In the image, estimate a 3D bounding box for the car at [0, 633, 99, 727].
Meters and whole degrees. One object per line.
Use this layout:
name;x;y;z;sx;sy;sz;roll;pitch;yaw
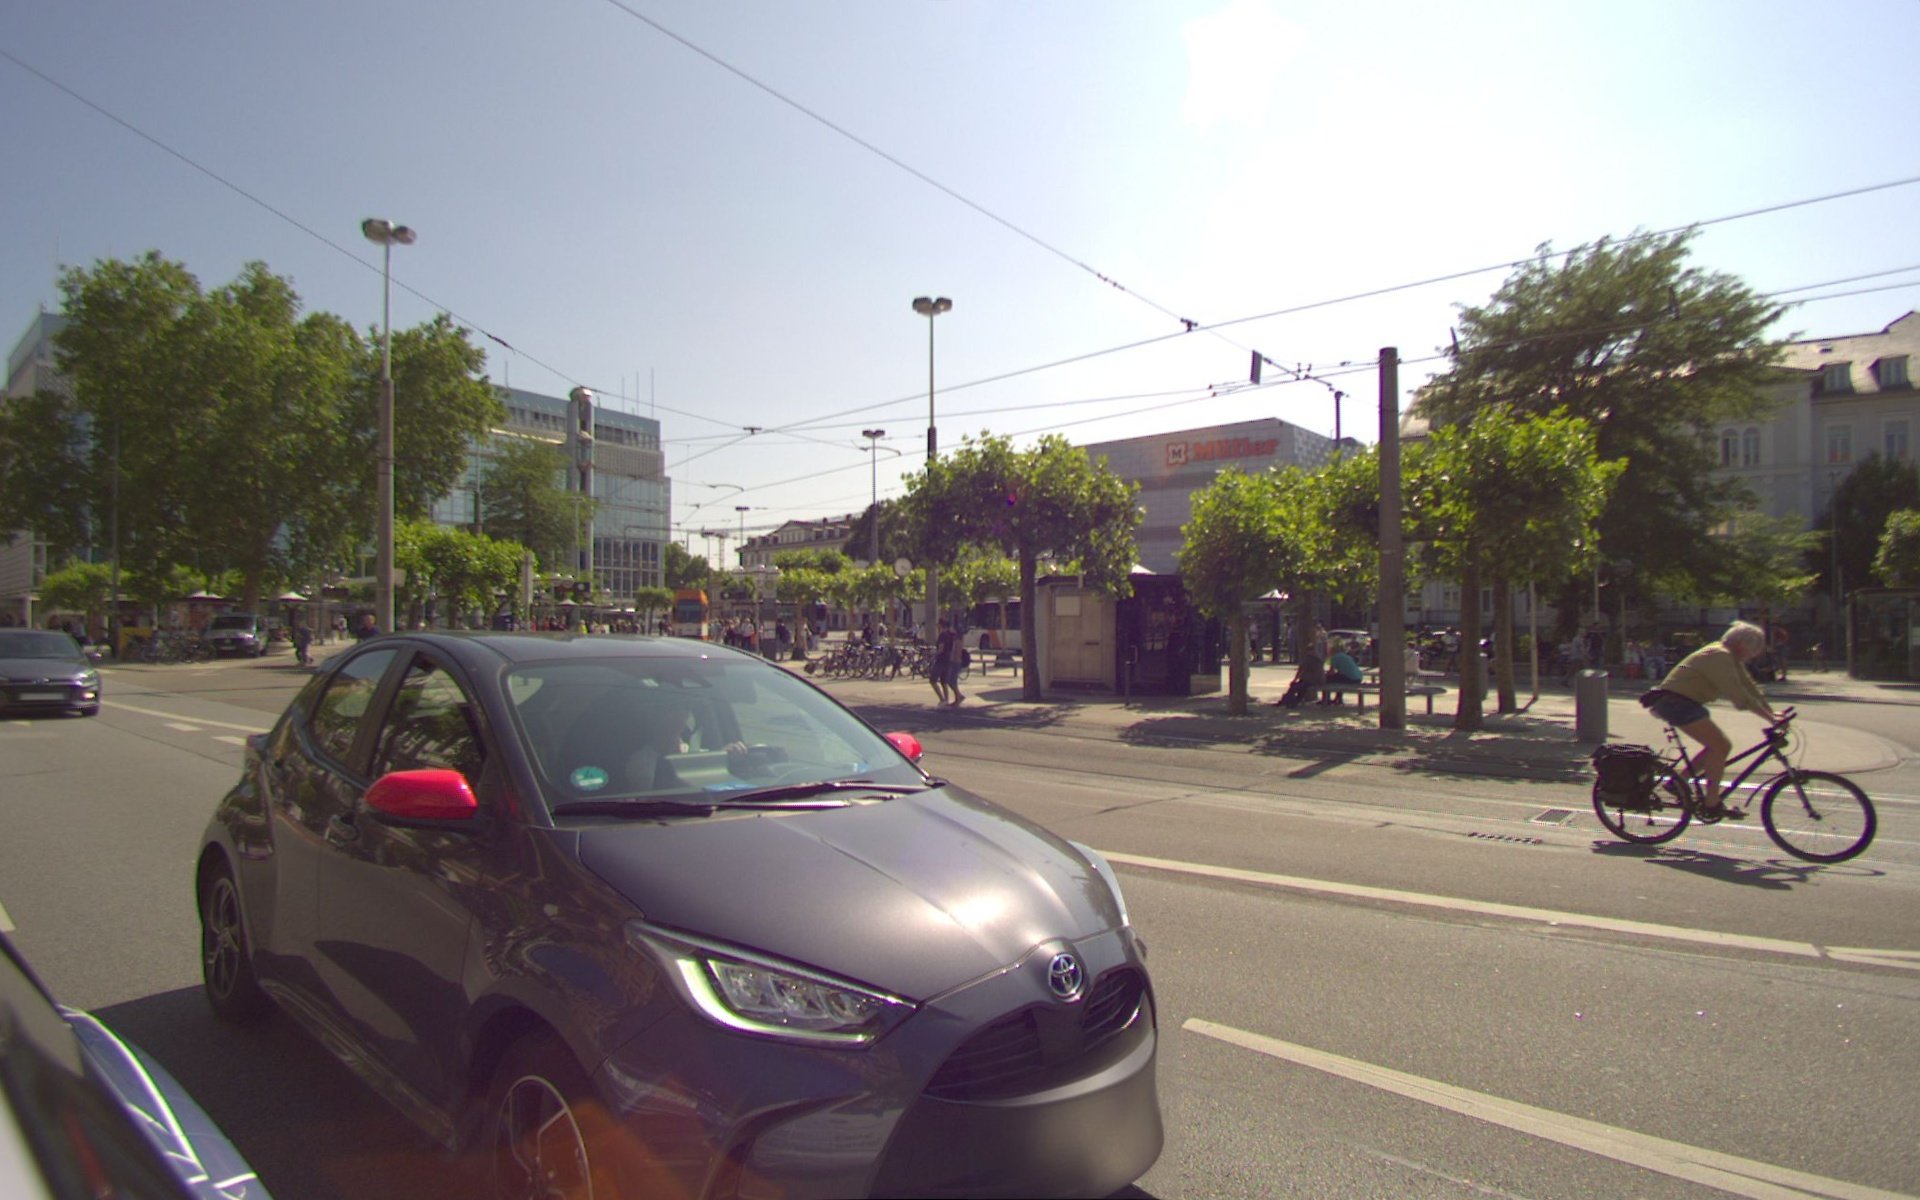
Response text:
car;-16.130;1.291;17.222;3.999;1.415;1.677;-1;-4;42

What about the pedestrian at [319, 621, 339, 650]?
pedestrian;-39.212;2.228;62.926;0.780;1.760;0.744;-1;0;31

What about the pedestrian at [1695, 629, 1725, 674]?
pedestrian;23.445;1.600;31.630;0.616;1.396;0.735;-1;-3;28

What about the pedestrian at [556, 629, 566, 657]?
pedestrian;-22.464;2.407;56.968;0.467;1.561;0.493;2;-4;-25

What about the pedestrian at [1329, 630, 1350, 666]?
pedestrian;15.750;2.004;42.025;0.679;1.477;0.617;-2;-4;36

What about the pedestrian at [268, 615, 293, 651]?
pedestrian;-34.044;1.627;50.692;0.780;1.760;0.744;-1;0;31

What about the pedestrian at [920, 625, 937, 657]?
pedestrian;-1.441;1.874;46.485;0.585;1.477;0.522;-1;-4;21

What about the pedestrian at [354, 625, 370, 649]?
pedestrian;-44.132;2.728;74.703;0.780;1.760;0.744;-1;0;31

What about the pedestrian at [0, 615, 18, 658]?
pedestrian;-41.377;1.585;43.924;0.738;1.860;0.587;-1;-2;39

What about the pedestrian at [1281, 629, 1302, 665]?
pedestrian;13.979;1.987;42.632;0.679;1.477;0.617;-2;-4;36

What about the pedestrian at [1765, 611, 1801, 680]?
pedestrian;24.664;1.361;30.331;0.627;2.023;0.542;0;-3;19

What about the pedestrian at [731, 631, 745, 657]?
pedestrian;-13.451;2.698;61.421;0.573;1.561;0.677;0;-4;14

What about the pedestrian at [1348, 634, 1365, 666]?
pedestrian;15.838;2.003;40.440;0.511;1.273;0.453;4;-5;-45

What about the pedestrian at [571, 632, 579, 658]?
pedestrian;-23.399;2.760;61.539;0.379;1.561;0.413;2;-4;-25

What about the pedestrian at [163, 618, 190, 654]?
pedestrian;-36.355;1.652;46.960;0.780;1.608;0.744;-1;0;31

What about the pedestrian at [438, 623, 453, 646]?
pedestrian;-41.689;2.794;81.926;0.780;1.760;0.744;-1;0;31

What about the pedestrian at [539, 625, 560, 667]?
pedestrian;-17.893;2.010;44.111;0.605;1.830;0.570;-2;-5;40

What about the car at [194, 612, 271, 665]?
car;-30.931;1.587;43.193;1.966;2.029;5.083;-2;1;-28

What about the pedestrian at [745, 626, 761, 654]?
pedestrian;-11.717;2.255;57.178;0.674;1.561;0.575;0;-4;17

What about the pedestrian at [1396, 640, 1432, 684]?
pedestrian;10.538;1.439;23.488;0.580;1.008;0.627;-3;-5;43

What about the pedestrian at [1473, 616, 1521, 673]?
pedestrian;17.444;1.442;32.892;0.953;1.807;1.082;4;-5;-40

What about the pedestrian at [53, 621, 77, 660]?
pedestrian;-42.493;1.915;48.056;0.666;1.760;0.742;-1;0;39

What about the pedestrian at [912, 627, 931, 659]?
pedestrian;-1.804;2.032;47.446;0.621;1.477;0.675;-1;-4;25

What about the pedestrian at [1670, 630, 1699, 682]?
pedestrian;22.859;1.755;31.933;0.616;1.611;0.735;-1;-3;28

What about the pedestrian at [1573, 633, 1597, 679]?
pedestrian;17.299;1.555;28.012;0.479;1.273;0.400;-1;-4;22

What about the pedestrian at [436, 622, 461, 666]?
pedestrian;-21.274;1.828;42.108;0.671;1.808;0.625;1;-3;-1

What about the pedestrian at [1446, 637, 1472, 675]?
pedestrian;16.938;1.904;34.355;0.613;1.273;0.583;4;-5;-40

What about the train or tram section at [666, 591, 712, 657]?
train or tram section;-17.646;1.429;65.651;2.578;3.856;9.547;-2;0;-16

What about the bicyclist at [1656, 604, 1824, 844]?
bicyclist;5.764;0.884;7.526;0.901;1.634;0.810;-2;-5;37

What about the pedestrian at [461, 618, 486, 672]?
pedestrian;-18.595;1.720;38.666;0.563;2.023;0.686;-1;-1;31

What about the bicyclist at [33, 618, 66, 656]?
bicyclist;-37.054;1.488;41.180;1.160;1.509;0.820;-1;0;40

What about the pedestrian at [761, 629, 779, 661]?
pedestrian;-9.822;2.329;52.351;0.675;1.610;0.621;-1;-4;18

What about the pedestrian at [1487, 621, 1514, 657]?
pedestrian;19.039;1.377;35.657;0.572;1.273;0.624;3;-4;-35

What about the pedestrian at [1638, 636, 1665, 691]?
pedestrian;22.117;2.021;32.355;0.618;1.742;0.733;-2;-4;40

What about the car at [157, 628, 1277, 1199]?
car;-1.214;0.852;3.395;4.001;1.486;1.757;-1;-2;44

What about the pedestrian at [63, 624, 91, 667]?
pedestrian;-35.915;1.834;41.174;0.639;1.704;0.637;-1;0;27

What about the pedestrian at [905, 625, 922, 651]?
pedestrian;-2.819;2.319;61.743;0.840;1.561;0.677;0;-4;14

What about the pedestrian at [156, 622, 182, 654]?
pedestrian;-37.019;1.767;47.375;0.671;1.435;0.744;-1;0;30

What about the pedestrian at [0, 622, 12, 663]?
pedestrian;-39.594;1.761;41.645;0.620;1.661;0.754;-2;0;-23

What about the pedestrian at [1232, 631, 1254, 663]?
pedestrian;12.900;2.149;46.147;0.740;1.477;0.780;-2;-4;36

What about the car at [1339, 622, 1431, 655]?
car;21.230;1.914;50.599;3.991;1.519;1.740;-1;1;35

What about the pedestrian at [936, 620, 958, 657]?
pedestrian;-0.539;1.597;41.631;0.670;1.477;0.625;4;-5;-43

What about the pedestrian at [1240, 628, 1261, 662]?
pedestrian;12.531;1.948;43.667;0.679;1.477;0.617;-2;-4;38

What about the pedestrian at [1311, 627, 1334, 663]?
pedestrian;14.763;1.833;41.191;0.616;1.477;0.681;4;-5;-45

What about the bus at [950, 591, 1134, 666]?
bus;3.931;1.350;53.570;3.014;3.445;12.498;-2;1;-30

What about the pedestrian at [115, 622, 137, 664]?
pedestrian;-35.685;1.842;43.312;0.516;1.755;0.511;-1;0;27

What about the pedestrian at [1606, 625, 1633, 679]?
pedestrian;21.436;1.693;32.893;0.618;1.742;0.733;-2;-4;40

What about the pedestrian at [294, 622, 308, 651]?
pedestrian;-40.144;2.219;61.644;0.629;1.706;0.754;-2;0;-27

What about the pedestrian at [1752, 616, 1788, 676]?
pedestrian;24.071;1.351;30.076;0.627;1.762;0.542;0;-3;19

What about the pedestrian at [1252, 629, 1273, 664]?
pedestrian;12.808;1.962;42.820;0.679;1.477;0.617;-2;-4;36

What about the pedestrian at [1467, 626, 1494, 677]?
pedestrian;18.710;1.851;36.380;0.572;1.792;0.624;3;-4;-35

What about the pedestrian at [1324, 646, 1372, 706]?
pedestrian;7.838;1.522;20.437;0.751;1.180;0.669;-2;-4;34

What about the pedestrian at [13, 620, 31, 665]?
pedestrian;-39.380;1.790;42.497;0.510;1.849;0.716;-2;0;-42

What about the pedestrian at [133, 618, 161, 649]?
pedestrian;-38.088;1.568;47.413;0.780;1.418;0.744;-1;0;31

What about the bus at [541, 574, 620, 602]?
bus;-40.431;-1.281;108.532;2.362;2.811;12.153;-1;1;8

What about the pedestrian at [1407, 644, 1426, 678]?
pedestrian;17.229;2.297;38.168;0.510;1.273;0.454;3;-4;-38

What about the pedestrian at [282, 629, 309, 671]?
pedestrian;-24.579;1.838;37.440;0.680;1.536;0.616;-2;-5;41
